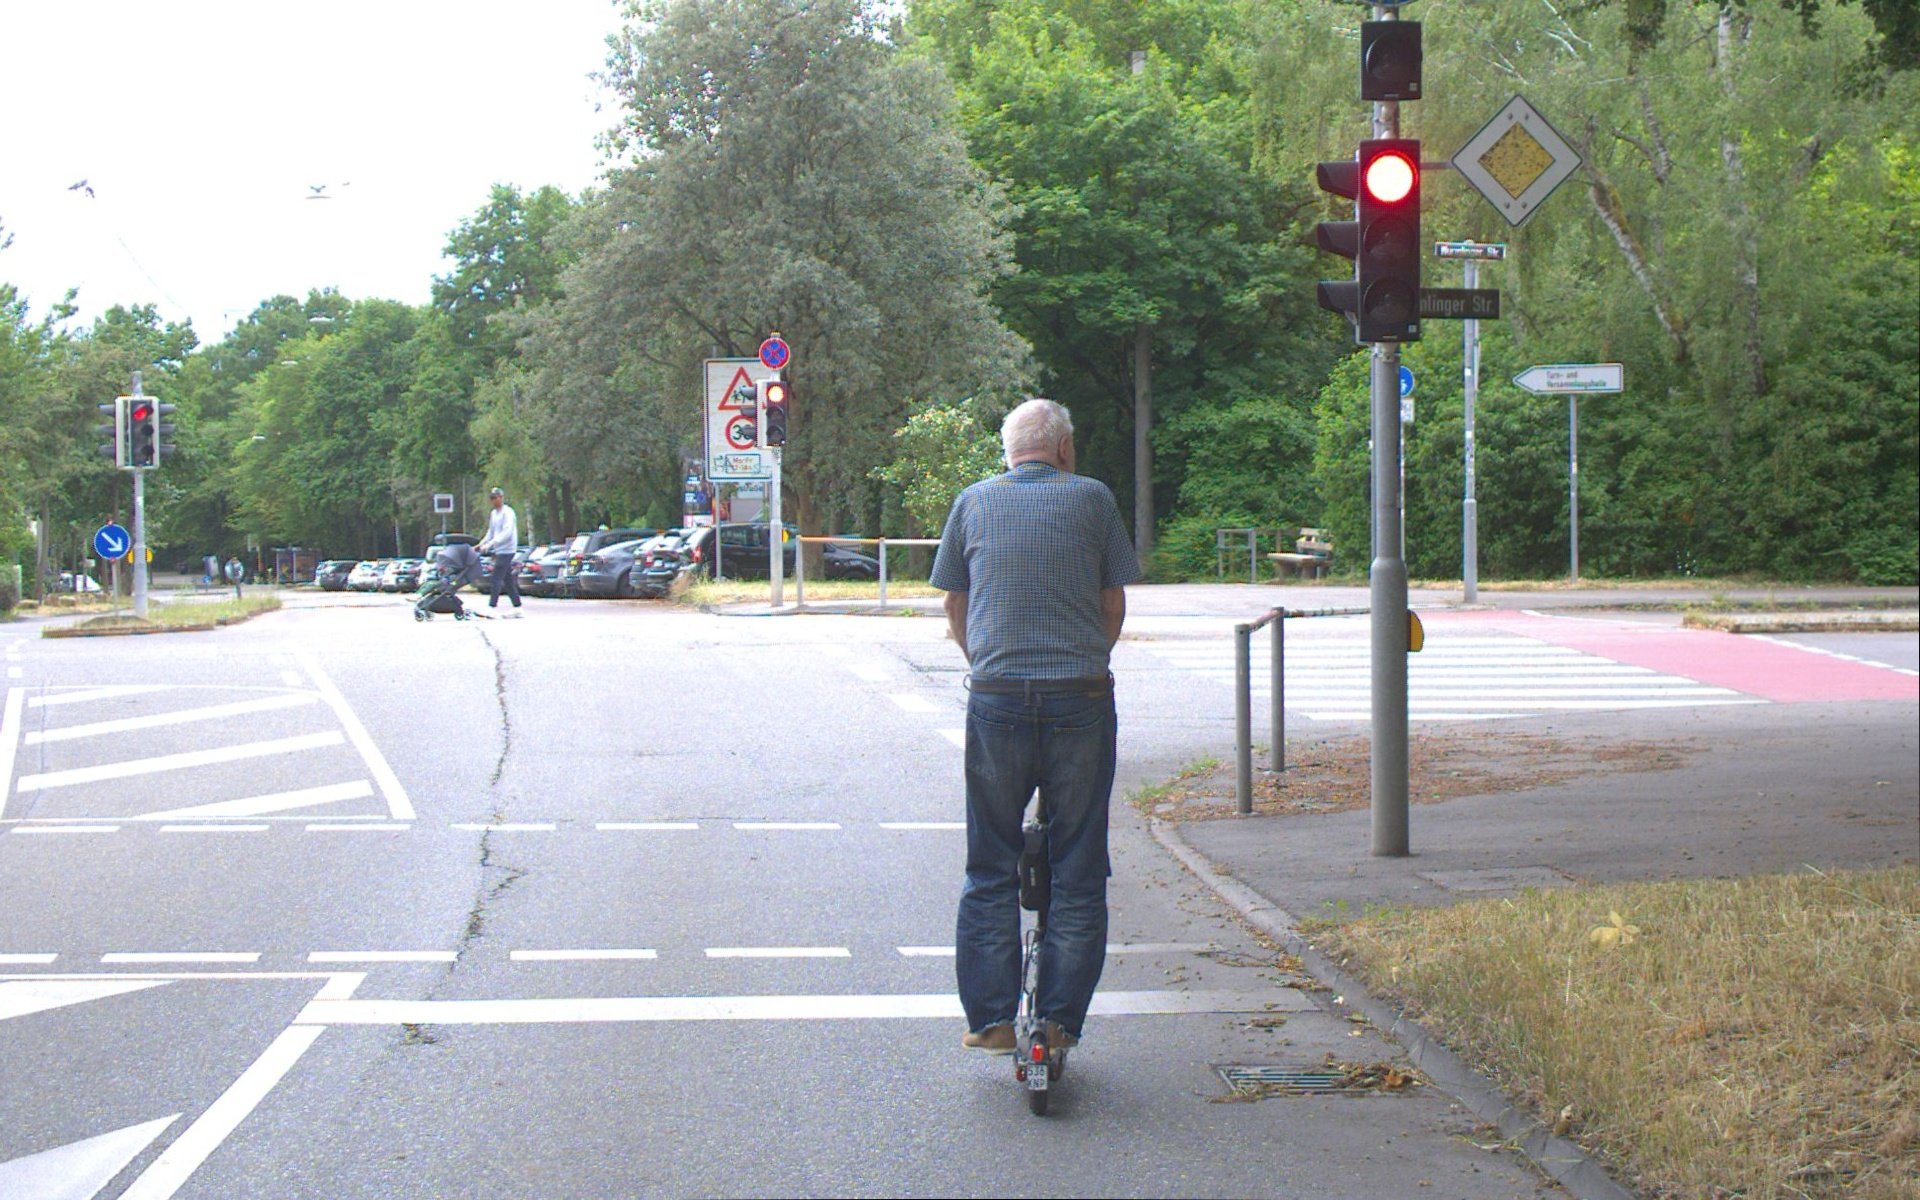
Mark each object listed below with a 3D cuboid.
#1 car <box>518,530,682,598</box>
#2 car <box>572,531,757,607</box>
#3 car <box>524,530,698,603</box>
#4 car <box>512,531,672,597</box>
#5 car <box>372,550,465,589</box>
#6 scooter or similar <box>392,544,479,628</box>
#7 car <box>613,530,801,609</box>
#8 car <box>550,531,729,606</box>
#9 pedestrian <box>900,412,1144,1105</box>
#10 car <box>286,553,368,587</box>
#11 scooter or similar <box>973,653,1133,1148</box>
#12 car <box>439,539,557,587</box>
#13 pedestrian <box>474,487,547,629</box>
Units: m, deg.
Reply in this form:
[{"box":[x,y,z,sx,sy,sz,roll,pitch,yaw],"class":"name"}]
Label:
[{"box":[-9.346,-0.943,89.244,3.841,1.605,1.728,-3,2,-23],"class":"car"},{"box":[-6.816,-0.724,79.375,3.841,1.605,1.728,-3,2,-24],"class":"car"},{"box":[-8.517,-0.832,83.937,3.841,1.605,1.728,-3,2,-23],"class":"car"},{"box":[-9.806,-0.978,91.653,3.841,1.605,1.728,-3,2,-23],"class":"car"},{"box":[-24.661,-1.399,156.548,3.841,1.605,1.728,-3,2,-23],"class":"car"},{"box":[-6.925,-0.187,45.384,1.107,1.077,0.578,-1,1,-10],"class":"scooter or similar"},{"box":[-5.699,-0.704,77.413,3.840,1.605,1.729,-3,2,-21],"class":"car"},{"box":[-7.638,-0.764,81.910,3.841,1.605,1.728,-3,2,-23],"class":"car"},{"box":[0.173,0.414,9.202,0.573,1.807,0.420,-1,1,8],"class":"pedestrian"},{"box":[-32.787,-1.569,178.047,3.841,1.605,1.728,-3,2,-23],"class":"car"},{"box":[0.258,0.752,9.068,0.282,1.174,1.177,-1,1,7],"class":"scooter or similar"},{"box":[-16.731,-1.350,124.430,3.841,1.605,1.728,-3,2,-23],"class":"car"},{"box":[-5.966,-0.561,45.584,0.883,1.856,0.574,-1,1,-11],"class":"pedestrian"}]
